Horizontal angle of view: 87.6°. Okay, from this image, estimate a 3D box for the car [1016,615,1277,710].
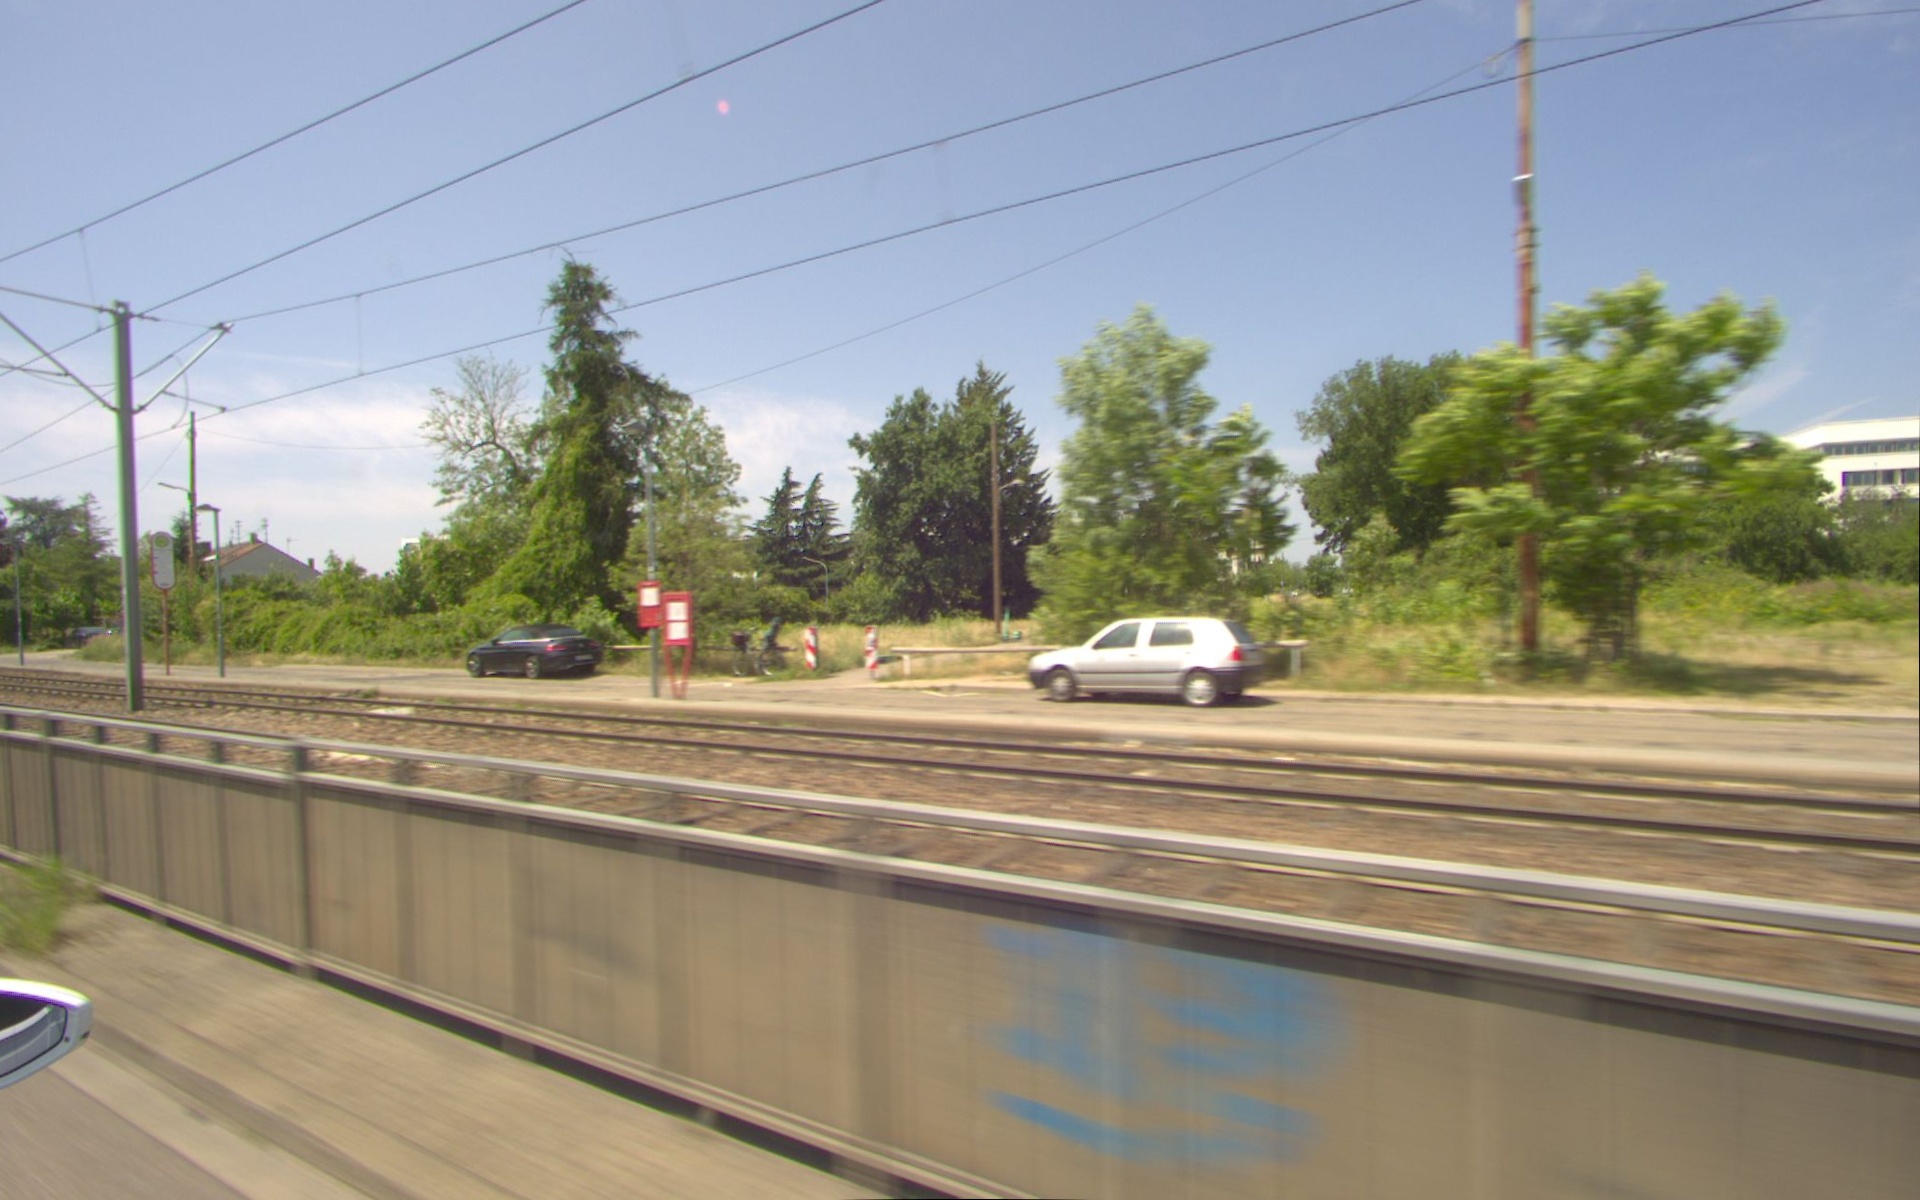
[{"bbox_3d":[3.146,1.008,17.065,3.944,1.440,1.935,-2,-1,33],"label":"car"}]

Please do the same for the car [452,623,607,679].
[{"bbox_3d":[-11.959,1.385,27.681,4.806,1.440,1.616,-2,-1,34],"label":"car"}]

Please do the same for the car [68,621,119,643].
[{"bbox_3d":[-57.804,2.149,66.776,3.689,1.437,1.716,-2,-1,35],"label":"car"}]

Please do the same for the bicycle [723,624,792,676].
[{"bbox_3d":[-5.241,1.279,25.977,1.648,1.286,0.704,-1,0,-2],"label":"bicycle"}]
